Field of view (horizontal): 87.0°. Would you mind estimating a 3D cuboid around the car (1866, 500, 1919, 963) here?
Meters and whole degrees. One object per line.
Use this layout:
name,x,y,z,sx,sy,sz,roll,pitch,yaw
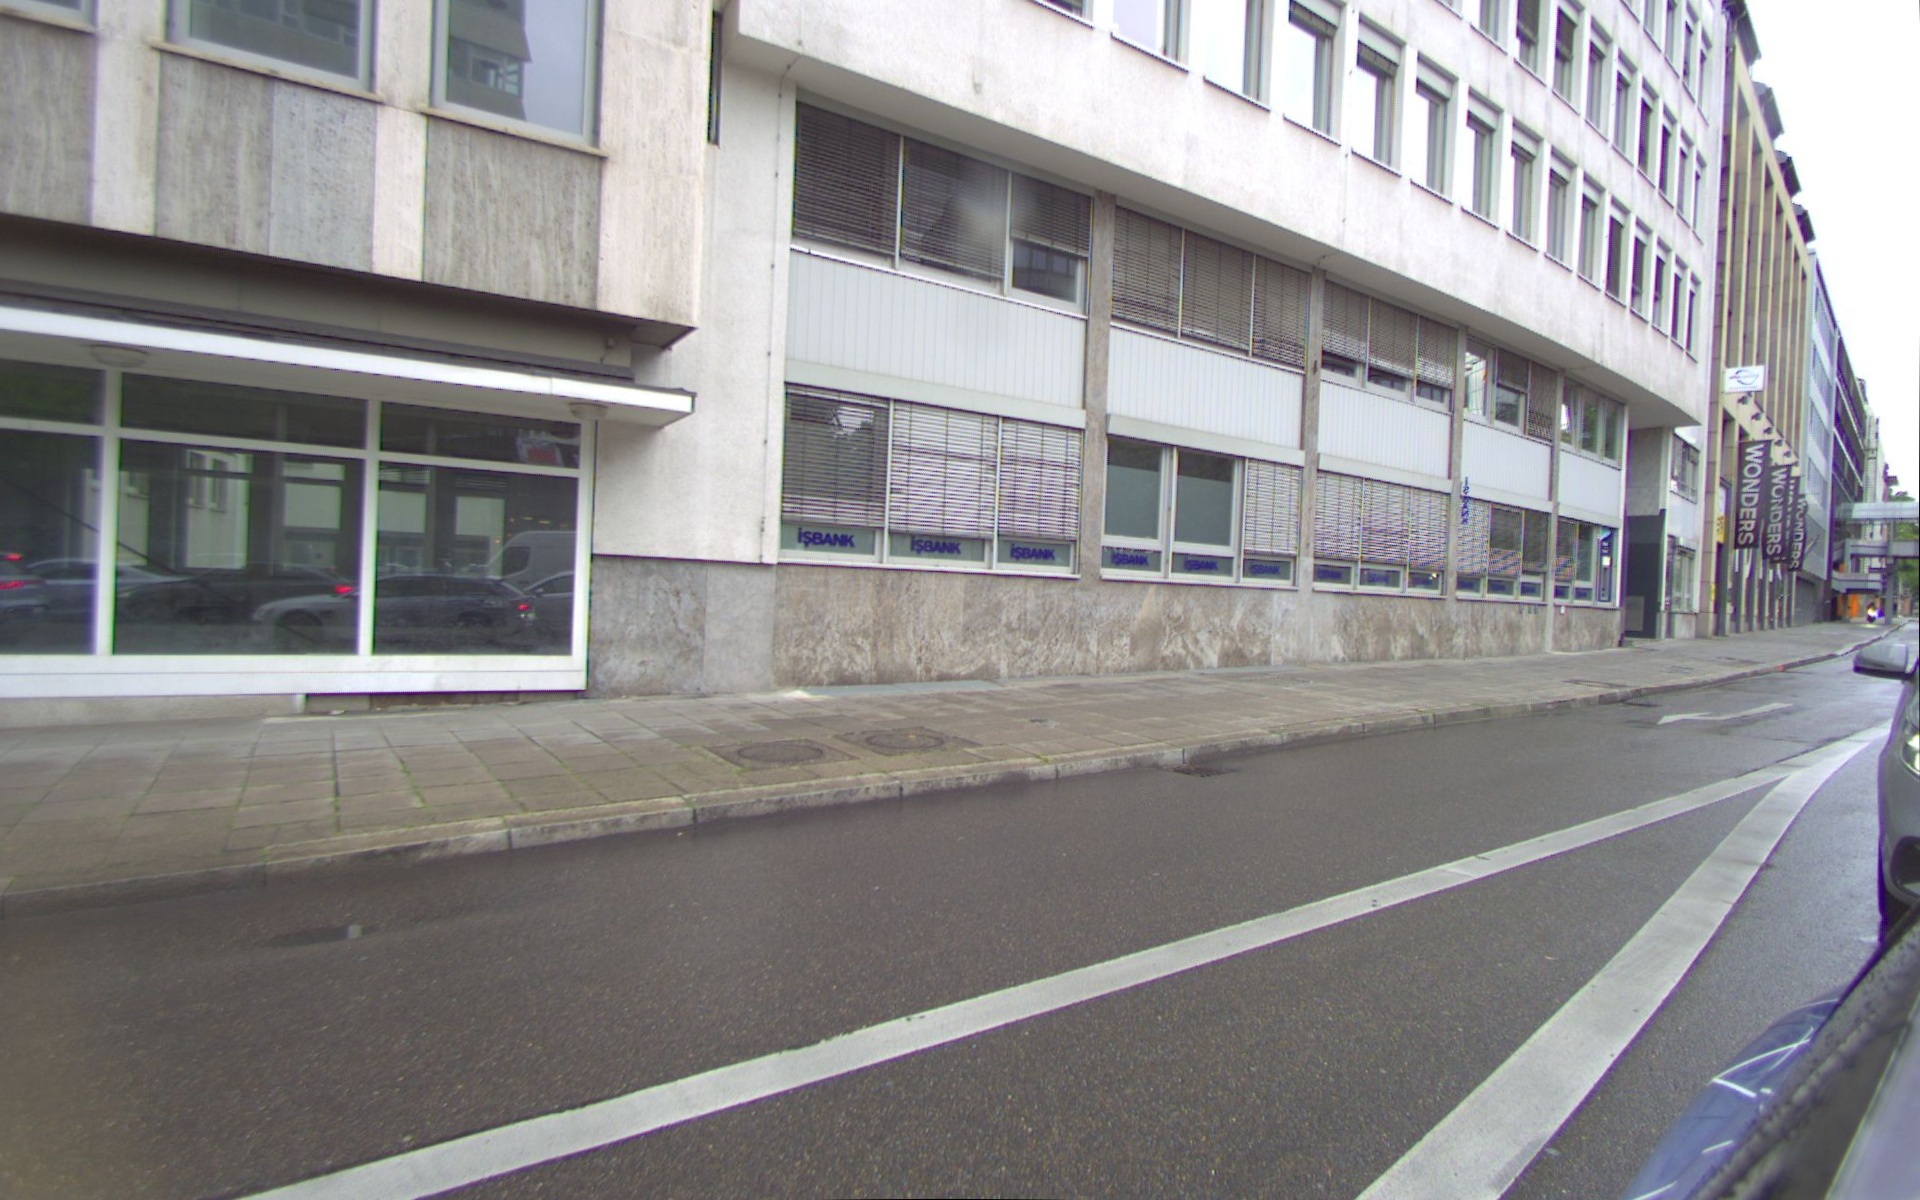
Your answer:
car,6.246,0.546,5.167,4.940,1.879,1.914,0,0,-42
